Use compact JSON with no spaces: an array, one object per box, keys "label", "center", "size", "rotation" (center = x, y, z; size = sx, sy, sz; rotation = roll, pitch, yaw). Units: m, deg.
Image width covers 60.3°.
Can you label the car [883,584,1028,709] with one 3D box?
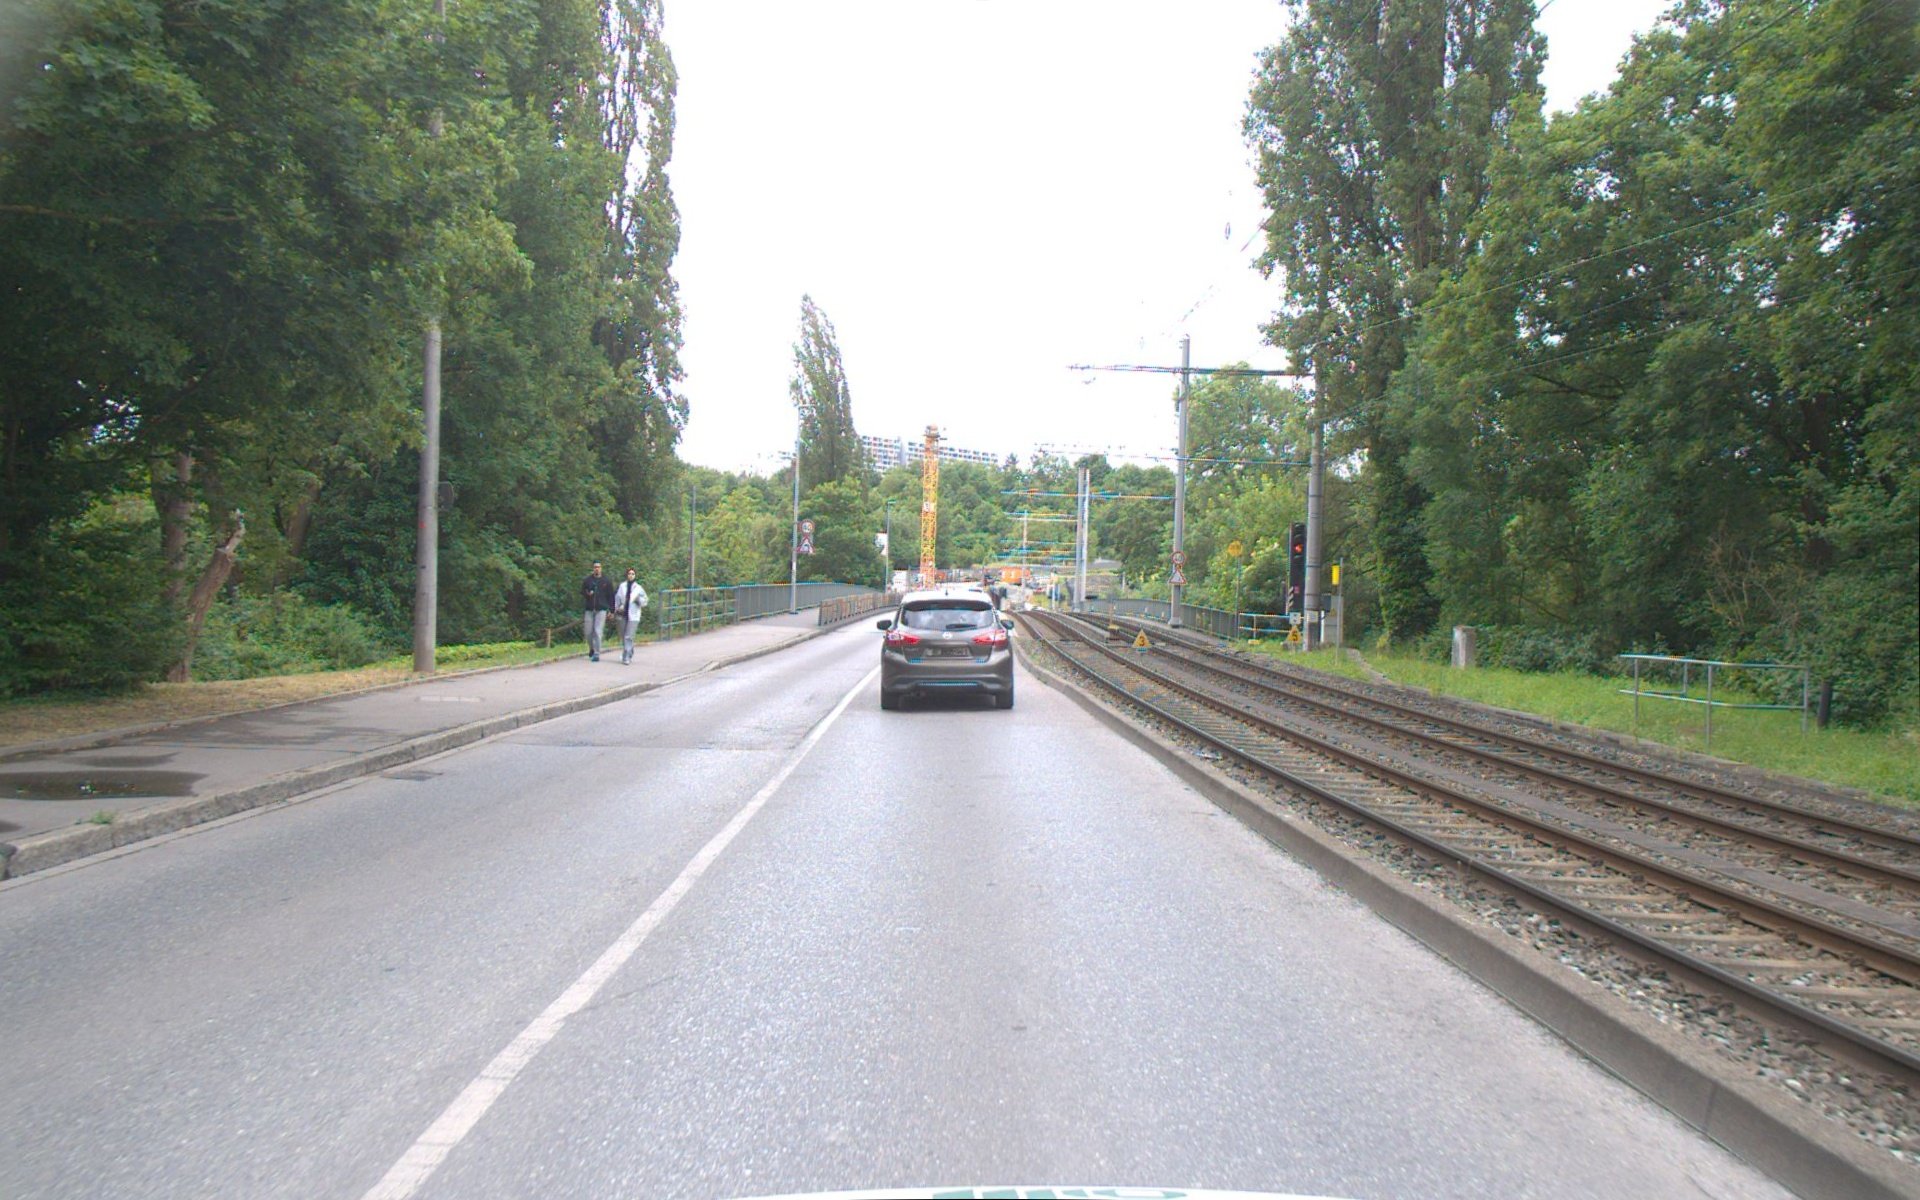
[{"label":"car","center":[-0.151,0.579,22.752],"size":[1.793,1.536,3.998],"rotation":[1,0,-3]}]

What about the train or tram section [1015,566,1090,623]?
[{"label":"train or tram section","center":[9.569,-0.401,174.838],"size":[2.972,5.273,23.005],"rotation":[3,-2,-9]}]

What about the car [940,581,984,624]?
[{"label":"car","center":[0.065,0.069,68.719],"size":[1.646,1.634,4.308],"rotation":[3,0,-1]}]

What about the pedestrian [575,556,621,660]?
[{"label":"pedestrian","center":[-6.571,0.143,30.066],"size":[0.575,1.834,0.822],"rotation":[3,0,-1]}]

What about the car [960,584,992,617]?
[{"label":"car","center":[0.880,0.009,90.302],"size":[1.645,1.634,4.310],"rotation":[2,1,1]}]

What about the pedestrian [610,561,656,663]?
[{"label":"pedestrian","center":[-5.948,0.213,30.110],"size":[0.540,1.795,0.858],"rotation":[5,0,-1]}]
